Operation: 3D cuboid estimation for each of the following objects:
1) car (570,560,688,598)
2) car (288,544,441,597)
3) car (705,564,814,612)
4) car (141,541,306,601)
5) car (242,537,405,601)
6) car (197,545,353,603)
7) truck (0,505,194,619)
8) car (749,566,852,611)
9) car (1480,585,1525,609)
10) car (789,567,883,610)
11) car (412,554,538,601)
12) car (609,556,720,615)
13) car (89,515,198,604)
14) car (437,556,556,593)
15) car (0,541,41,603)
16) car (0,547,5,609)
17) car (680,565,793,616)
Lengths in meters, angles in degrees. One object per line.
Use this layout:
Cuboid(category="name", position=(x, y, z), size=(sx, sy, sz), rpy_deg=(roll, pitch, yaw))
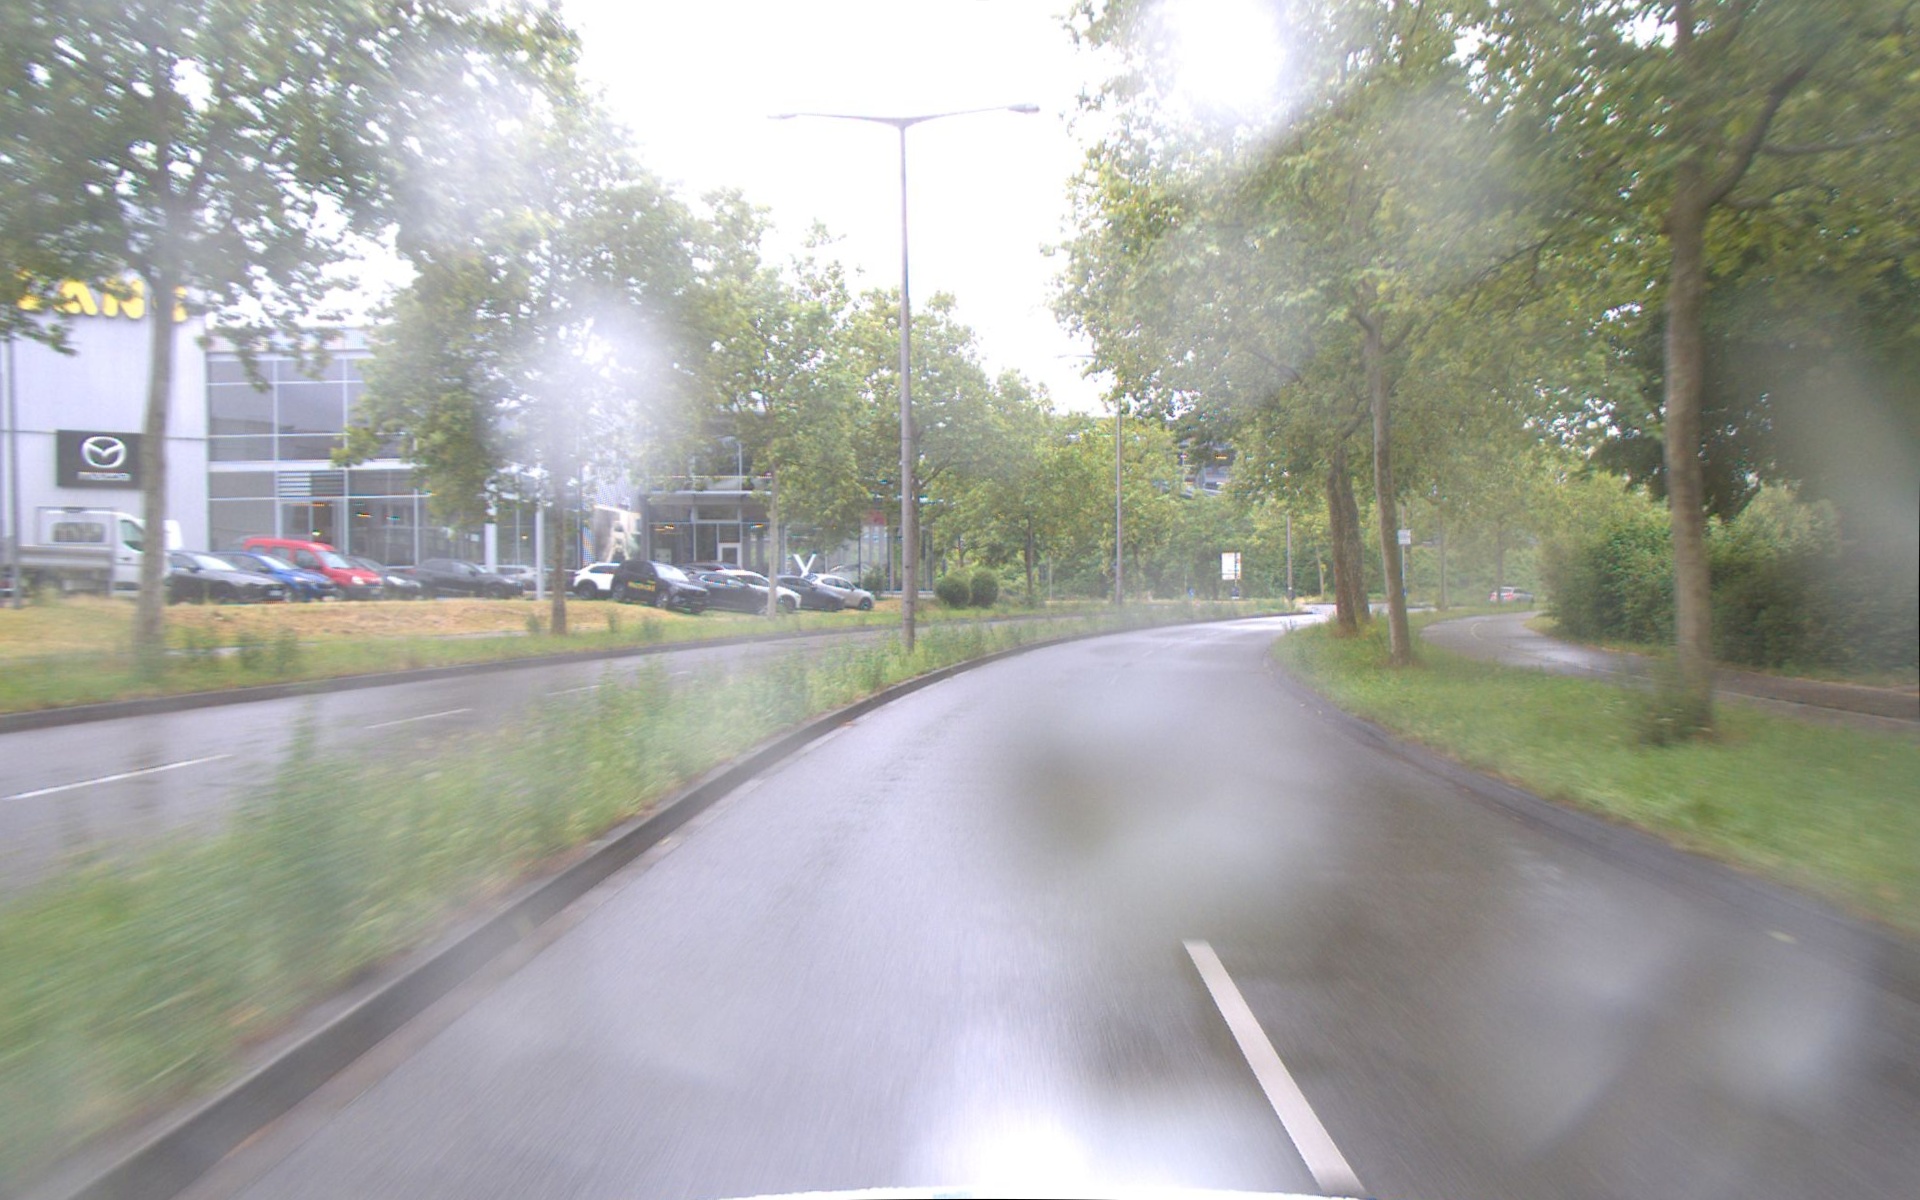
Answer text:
Cuboid(category="car", position=(-13.529, -0.857, 67.742), size=(4.327, 1.499, 1.921), rpy_deg=(1, 0, 7))
Cuboid(category="car", position=(-18.099, -0.911, 50.332), size=(3.911, 1.381, 1.849), rpy_deg=(3, 2, 9))
Cuboid(category="car", position=(-8.439, -0.502, 69.575), size=(4.073, 1.503, 1.831), rpy_deg=(6, 3, -30))
Cuboid(category="car", position=(-18.902, -0.757, 42.516), size=(3.448, 1.349, 1.770), rpy_deg=(3, 2, 9))
Cuboid(category="car", position=(-18.210, -0.907, 47.418), size=(3.911, 1.584, 1.849), rpy_deg=(3, 2, 9))
Cuboid(category="car", position=(-18.531, -0.721, 44.783), size=(3.448, 1.349, 1.770), rpy_deg=(3, 2, 9))
Cuboid(category="truck", position=(-20.639, -0.932, 38.115), size=(2.199, 2.385, 6.201), rpy_deg=(3, 2, 10))
Cuboid(category="car", position=(-7.059, -0.507, 73.345), size=(4.067, 1.446, 1.834), rpy_deg=(6, 3, -27))
Cuboid(category="car", position=(38.396, -0.244, 116.950), size=(1.751, 1.582, 3.982), rpy_deg=(2, 2, 38))
Cuboid(category="car", position=(-5.782, -0.538, 77.463), size=(3.953, 1.500, 1.765), rpy_deg=(5, 3, -35))
Cuboid(category="car", position=(-16.787, -0.795, 57.389), size=(3.922, 1.381, 1.844), rpy_deg=(3, 2, -9))
Cuboid(category="car", position=(-11.287, -0.569, 62.950), size=(4.365, 1.582, 1.835), rpy_deg=(10, 4, 44))
Cuboid(category="car", position=(-27.315, -1.359, 55.233), size=(2.149, 2.800, 5.265), rpy_deg=(1, 1, -38))
Cuboid(category="car", position=(-18.974, -1.041, 67.859), size=(4.330, 1.499, 1.920), rpy_deg=(0, 0, 0))
Cuboid(category="car", position=(-29.597, -0.868, 48.236), size=(4.614, 1.795, 1.793), rpy_deg=(1, 1, -42))
Cuboid(category="car", position=(-24.047, -0.477, 37.895), size=(1.726, 1.492, 4.159), rpy_deg=(1, 2, 3))
Cuboid(category="car", position=(-9.009, -0.376, 66.679), size=(4.060, 1.503, 1.837), rpy_deg=(6, 3, -22))
